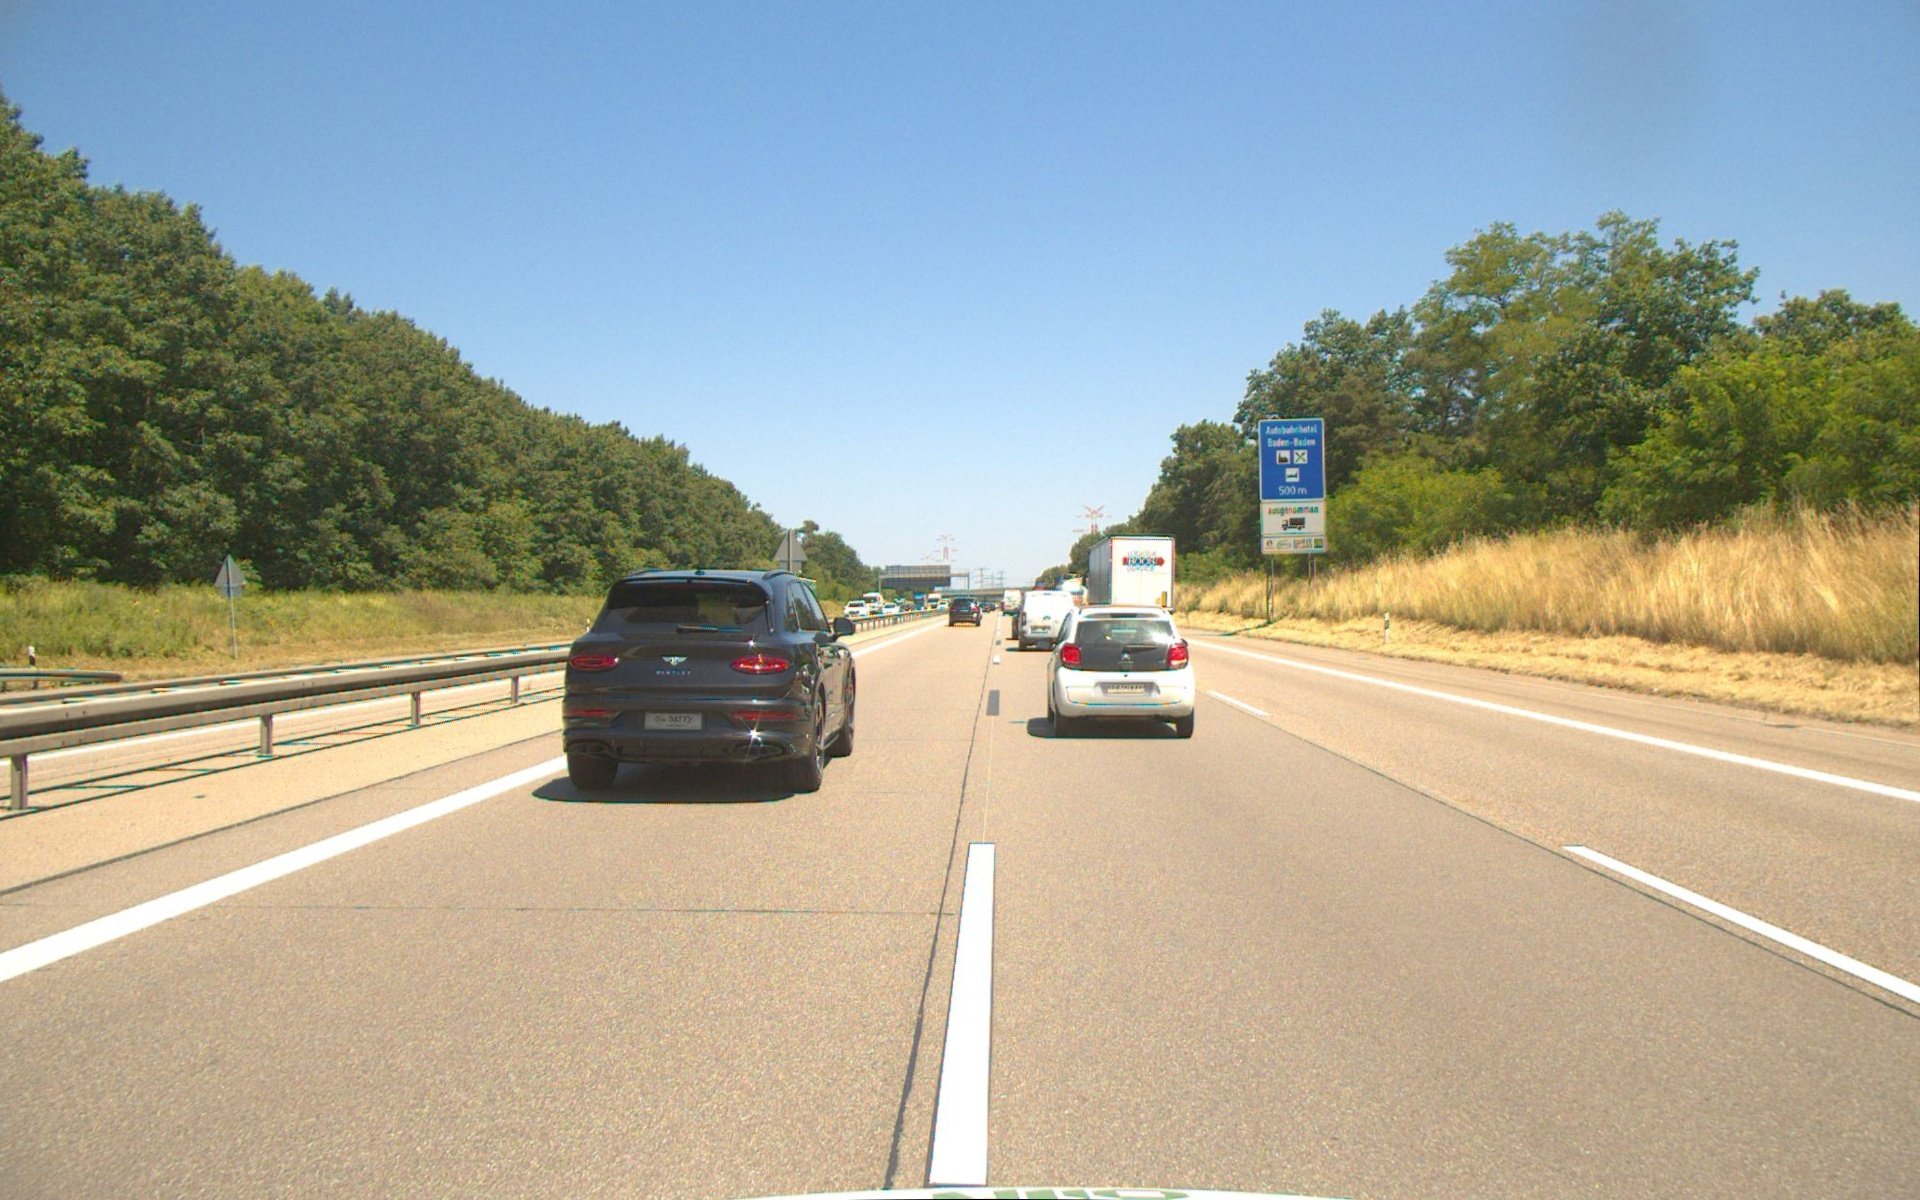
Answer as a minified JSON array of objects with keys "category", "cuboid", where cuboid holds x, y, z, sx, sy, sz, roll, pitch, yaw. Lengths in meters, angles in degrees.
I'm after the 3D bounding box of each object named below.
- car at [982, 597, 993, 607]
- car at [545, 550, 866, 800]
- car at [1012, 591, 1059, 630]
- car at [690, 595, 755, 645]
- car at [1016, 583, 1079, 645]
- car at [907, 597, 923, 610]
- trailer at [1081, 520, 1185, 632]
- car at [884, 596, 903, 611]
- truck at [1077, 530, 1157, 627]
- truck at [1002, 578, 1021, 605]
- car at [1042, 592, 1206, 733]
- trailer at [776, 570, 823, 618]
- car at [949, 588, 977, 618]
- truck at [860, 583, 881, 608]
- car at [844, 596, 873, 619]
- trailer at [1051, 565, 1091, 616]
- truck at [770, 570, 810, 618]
[{"category":"car","cuboid":[3.823,0.268,231.025,1.573,1.323,3.675,0,0,1]},{"category":"car","cuboid":[-1.975,0.495,14.685,1.900,1.782,5.814,0,1,1]},{"category":"car","cuboid":[2.979,0.407,65.920,1.738,1.498,3.873,-1,0,1]},{"category":"car","cuboid":[-11.345,0.900,79.430,2.121,2.167,5.423,-3,0,1]},{"category":"car","cuboid":[2.715,0.416,52.141,1.777,1.859,5.111,-1,0,1]},{"category":"car","cuboid":[-5.708,0.432,211.534,1.674,1.435,5.084,-3,0,1]},{"category":"trailer","cuboid":[7.163,-0.911,70.582,3.218,4.293,13.566,1,0,1]},{"category":"car","cuboid":[-7.013,0.366,173.556,1.621,1.526,4.601,-3,0,1]},{"category":"truck","cuboid":[7.246,-0.950,77.061,3.218,4.293,6.008,1,0,1]},{"category":"truck","cuboid":[5.791,-0.896,185.758,2.018,2.965,7.004,-1,0,1]},{"category":"car","cuboid":[1.890,0.673,20.056,1.673,1.521,4.024,0,0,1]},{"category":"trailer","cuboid":[-15.523,-0.593,160.775,2.649,4.233,14.340,-3,0,1]},{"category":"car","cuboid":[0.208,0.176,100.477,1.593,1.785,3.805,0,0,1]},{"category":"truck","cuboid":[-13.461,-0.662,249.143,2.627,3.494,6.145,-3,0,1]},{"category":"car","cuboid":[-8.575,0.627,140.670,1.914,1.823,5.563,-3,0,1]},{"category":"trailer","cuboid":[8.968,-0.752,135.239,2.627,3.904,12.011,1,0,1]},{"category":"truck","cuboid":[-15.706,-0.560,152.921,2.645,4.233,6.297,-3,0,1]}]
